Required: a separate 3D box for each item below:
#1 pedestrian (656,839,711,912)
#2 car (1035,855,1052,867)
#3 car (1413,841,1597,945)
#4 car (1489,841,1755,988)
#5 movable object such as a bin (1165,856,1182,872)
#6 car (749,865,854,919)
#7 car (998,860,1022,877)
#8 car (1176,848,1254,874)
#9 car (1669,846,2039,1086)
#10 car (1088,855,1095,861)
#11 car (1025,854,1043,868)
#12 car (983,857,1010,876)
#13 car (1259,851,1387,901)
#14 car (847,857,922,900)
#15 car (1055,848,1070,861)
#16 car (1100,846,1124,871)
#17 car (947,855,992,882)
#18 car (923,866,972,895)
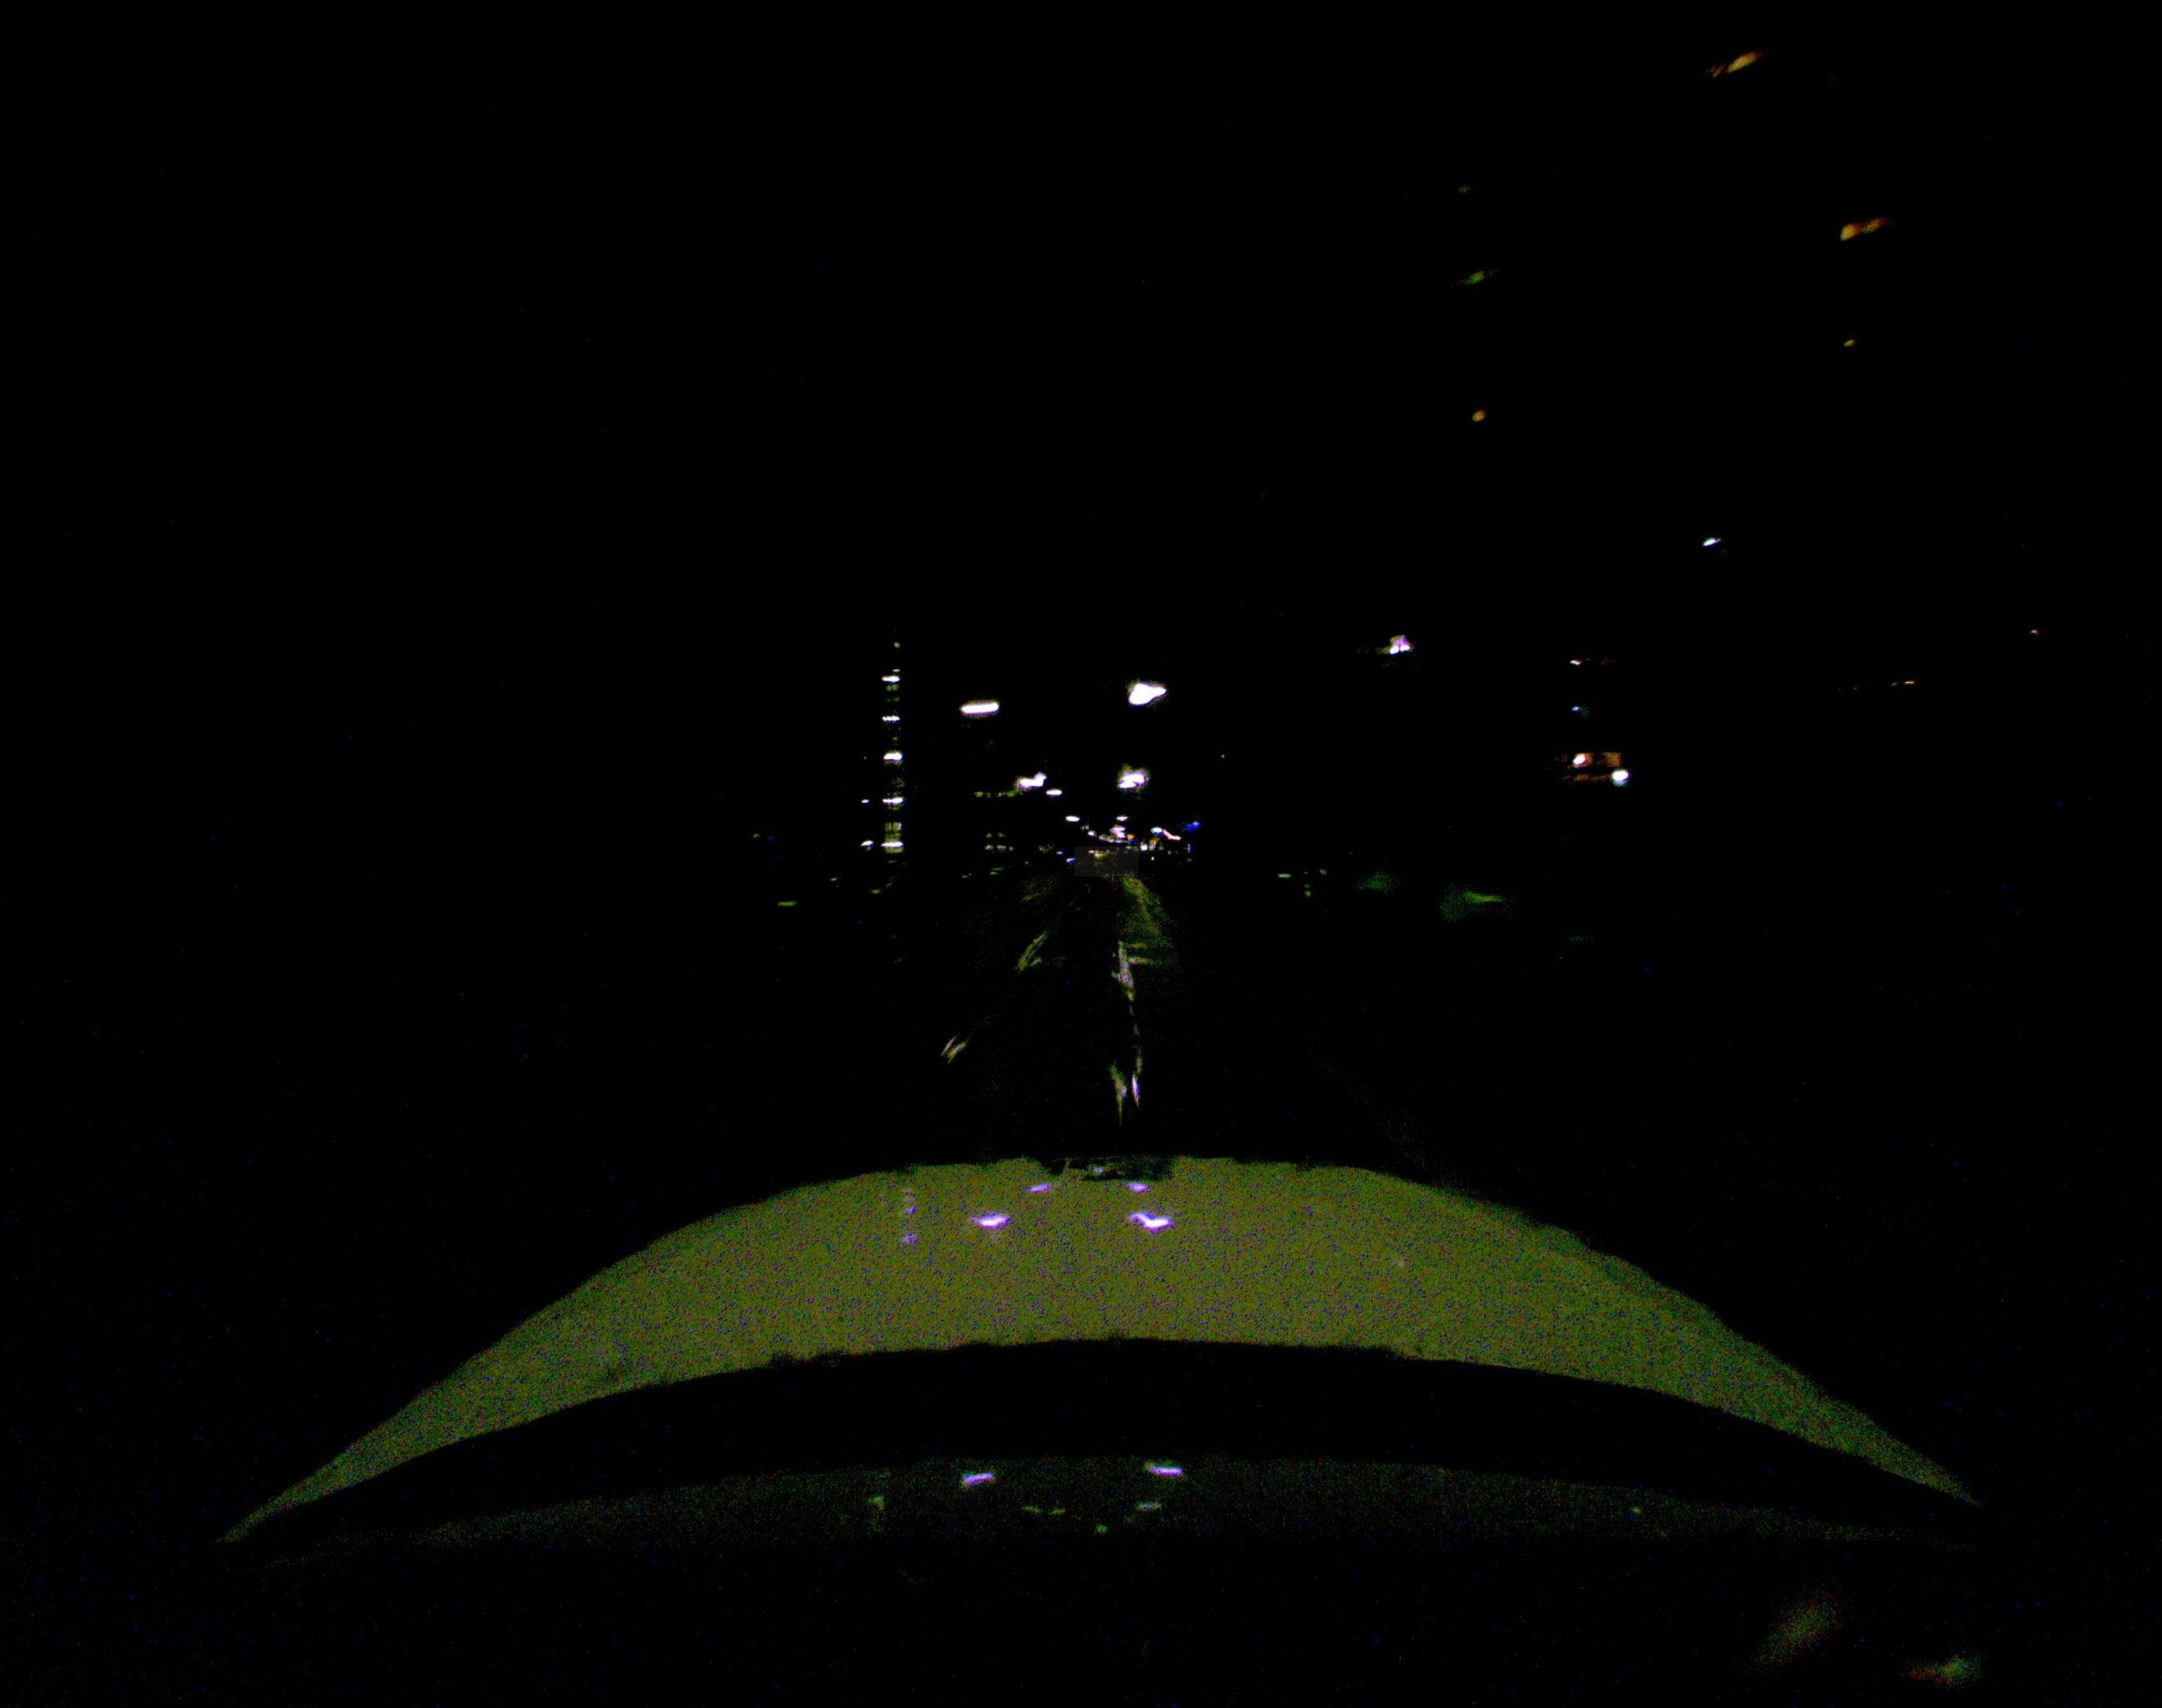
[{"bbox_3d":[-10.618,0.561,21.809,0.789,1.901,1.291,0,-1,2],"label":"pedestrian"},{"bbox_3d":[-5.098,0.978,110.967,1.976,1.631,4.519,0,-1,2],"label":"car"},{"bbox_3d":[7.338,0.581,13.934,1.690,1.512,3.929,-1,-1,45],"label":"car"},{"bbox_3d":[6.879,0.632,10.253,3.589,1.472,1.635,-2,0,-36],"label":"car"},{"bbox_3d":[8.261,0.894,72.589,1.319,1.408,1.158,-2,-1,-4],"label":"movable object such as a bin"},{"bbox_3d":[-8.268,1.087,24.462,1.712,1.456,3.952,0,-1,1],"label":"car"},{"bbox_3d":[-6.472,1.299,74.570,1.834,1.423,4.207,-1,0,-1],"label":"car"},{"bbox_3d":[8.602,0.438,52.177,4.597,1.475,1.829,-2,0,-18],"label":"car"},{"bbox_3d":[6.684,0.671,6.877,4.277,1.417,1.764,0,-1,-40],"label":"car"},{"bbox_3d":[2.892,1.066,227.896,1.769,1.517,4.053,0,0,2],"label":"car"},{"bbox_3d":[-5.602,0.857,97.269,1.875,1.545,4.397,3,-1,-1],"label":"car"},{"bbox_3d":[-6.737,0.997,65.050,1.768,1.440,4.605,-1,0,-2],"label":"car"},{"bbox_3d":[7.821,0.651,26.180,4.361,1.468,1.662,-1,0,-37],"label":"car"},{"bbox_3d":[-8.028,0.957,33.670,1.802,1.578,4.355,2,0,2],"label":"car"},{"bbox_3d":[-3.610,0.058,160.597,2.175,2.591,6.399,0,0,4],"label":"car"},{"bbox_3d":[3.061,0.481,80.928,2.236,2.361,4.394,0,-1,1],"label":"car"},{"bbox_3d":[-7.260,0.926,53.465,2.135,1.619,4.591,2,-1,2],"label":"car"},{"bbox_3d":[-7.209,1.395,44.403,1.724,1.438,4.628,0,0,2],"label":"car"}]
